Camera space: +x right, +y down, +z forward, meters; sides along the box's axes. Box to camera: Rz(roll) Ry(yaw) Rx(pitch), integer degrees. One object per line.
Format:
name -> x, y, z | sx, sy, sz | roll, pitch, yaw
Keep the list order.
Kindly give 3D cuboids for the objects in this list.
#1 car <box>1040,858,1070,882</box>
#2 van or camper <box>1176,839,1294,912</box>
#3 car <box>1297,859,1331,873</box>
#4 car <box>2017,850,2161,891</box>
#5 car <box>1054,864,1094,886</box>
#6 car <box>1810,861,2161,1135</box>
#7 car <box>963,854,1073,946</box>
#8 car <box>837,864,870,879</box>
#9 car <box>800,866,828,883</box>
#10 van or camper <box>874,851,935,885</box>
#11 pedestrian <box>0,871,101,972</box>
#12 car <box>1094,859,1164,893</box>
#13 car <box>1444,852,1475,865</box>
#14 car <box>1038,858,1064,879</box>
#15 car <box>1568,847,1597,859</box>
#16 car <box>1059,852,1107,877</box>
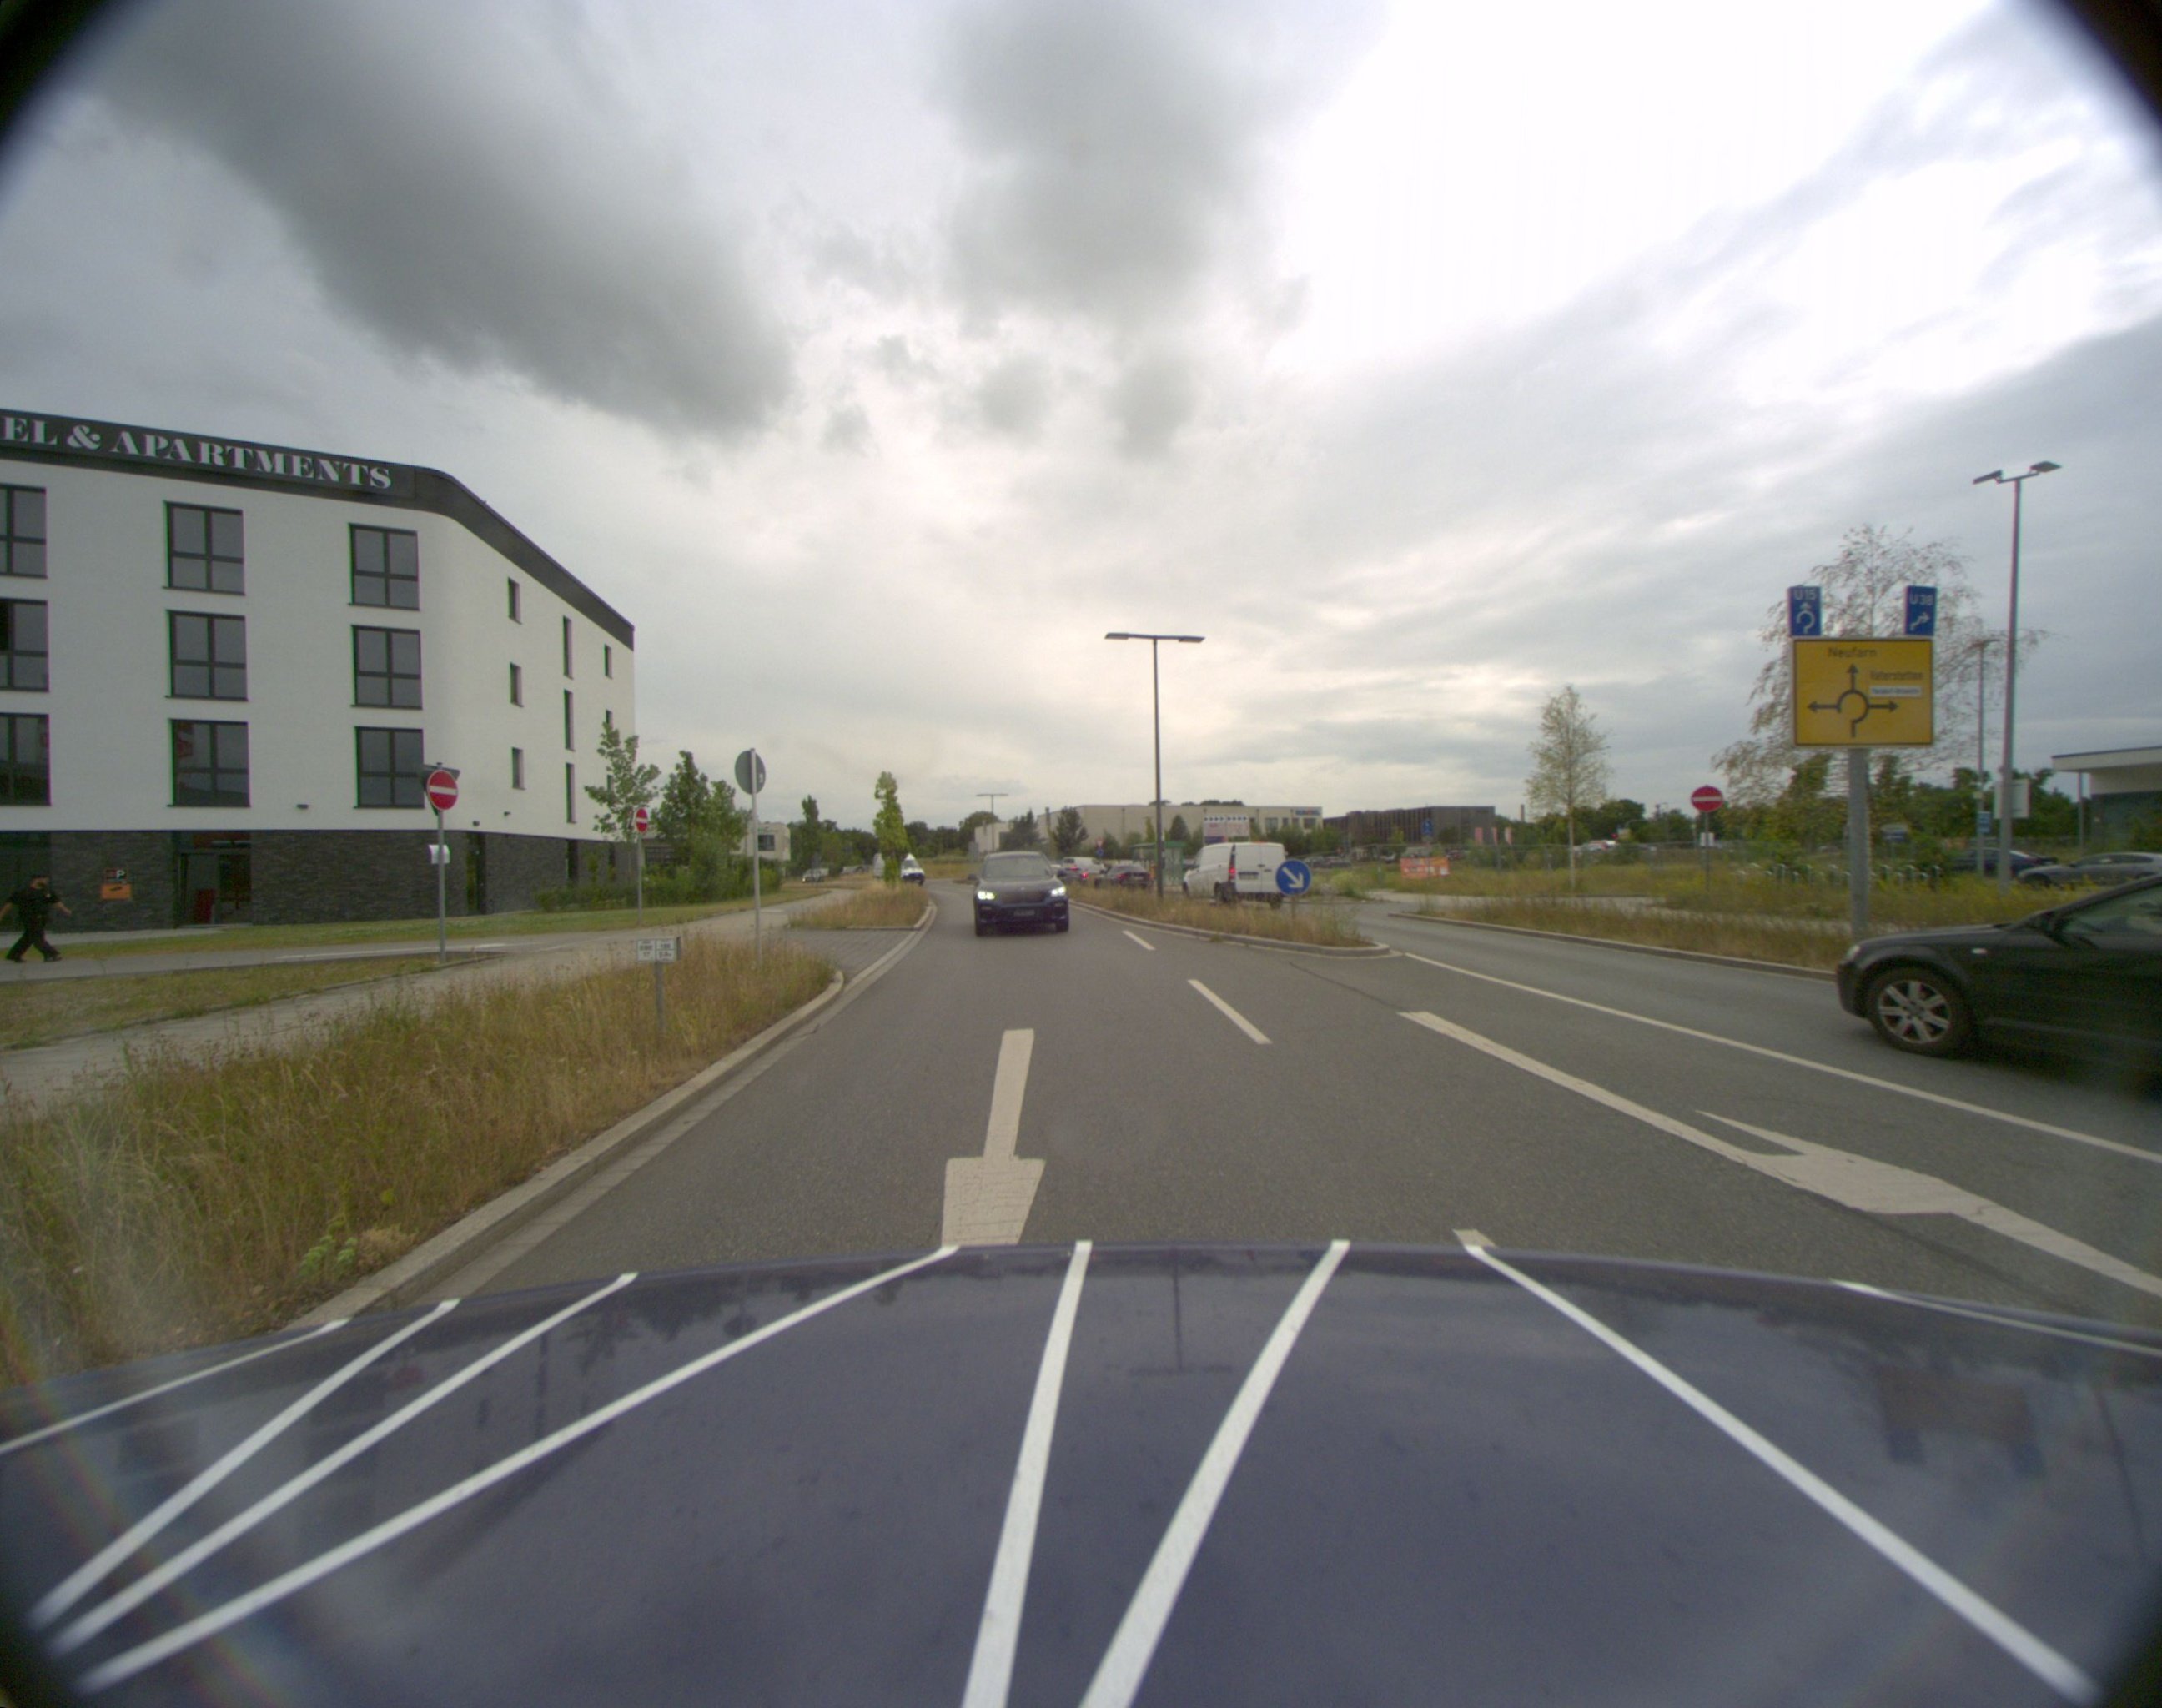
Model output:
car -> -1.952, 1.188, 56.565 | 1.999, 1.608, 3.998 | -2, 0, -5
van or camper -> 4.584, 0.592, 23.461 | 1.953, 1.996, 5.124 | 0, 0, -8
car -> 30.820, 1.576, 100.675 | 4.005, 1.707, 1.996 | -2, 1, -26
car -> 38.937, 0.575, 28.655 | 1.832, 1.443, 4.191 | -1, 0, -12
car -> -0.504, 1.337, 49.608 | 1.789, 1.313, 3.996 | -2, 0, -12
car -> 6.675, 0.792, 3.911 | 1.722, 1.437, 4.234 | 0, 1, -1
car -> -1.329, 0.862, 16.297 | 1.999, 1.654, 3.998 | -2, 0, -4
car -> -26.925, 2.074, 90.080 | 1.970, 1.576, 4.003 | -2, 0, 13
car -> -27.544, 2.126, 78.590 | 2.000, 1.576, 3.996 | -2, 0, -9
van or camper -> -14.466, 1.109, 62.069 | 2.270, 2.601, 5.681 | -1, 0, -43
pedestrian -> -20.540, 1.287, 14.857 | 1.195, 1.847, 1.073 | -1, 2, -8
car -> 2.195, 0.985, 36.243 | 2.172, 1.474, 4.899 | -1, 0, -11
car -> 54.042, 0.572, 108.495 | 4.005, 1.707, 1.996 | -2, 1, -26
car -> -2.528, 1.165, 63.422 | 1.999, 1.608, 3.998 | -2, 0, -5
car -> 77.318, -0.168, 117.214 | 4.005, 1.707, 1.996 | -2, 1, -26
car -> 0.235, 1.002, 74.286 | 1.994, 2.231, 4.599 | -1, 1, 43
